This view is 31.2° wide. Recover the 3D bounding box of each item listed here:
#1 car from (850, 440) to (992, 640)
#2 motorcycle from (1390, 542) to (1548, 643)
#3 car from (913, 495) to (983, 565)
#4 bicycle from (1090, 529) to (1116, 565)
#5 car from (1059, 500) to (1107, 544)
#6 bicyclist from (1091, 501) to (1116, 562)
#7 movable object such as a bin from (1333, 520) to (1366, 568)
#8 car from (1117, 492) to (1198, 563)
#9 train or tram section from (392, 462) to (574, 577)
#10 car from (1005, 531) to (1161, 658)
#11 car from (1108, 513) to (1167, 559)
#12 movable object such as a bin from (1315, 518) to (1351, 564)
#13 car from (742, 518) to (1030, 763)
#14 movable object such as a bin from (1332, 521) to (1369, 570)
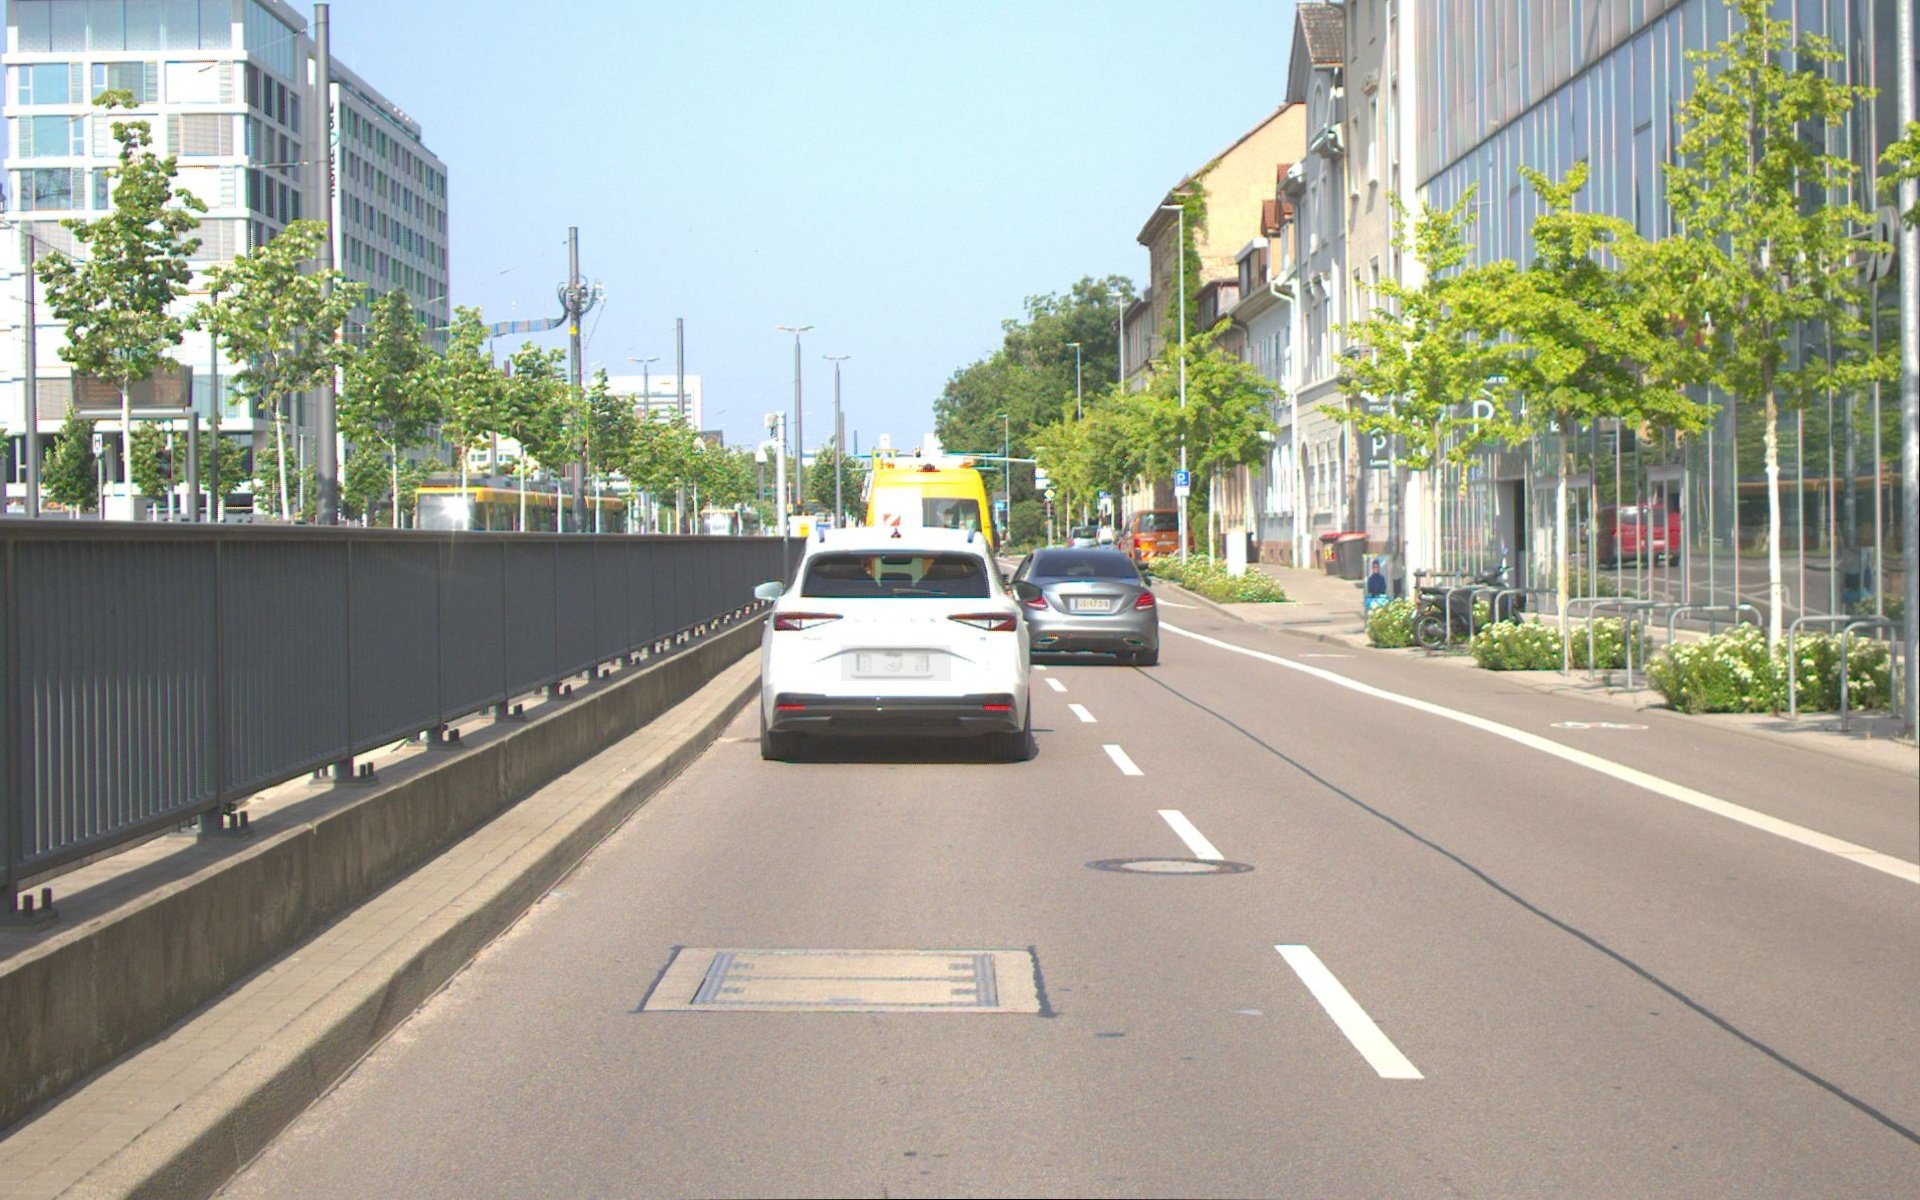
[{"bbox_3d":[-0.560,-0.988,52.217,2.020,2.786,5.402,0,3,0],"label":"car"},{"bbox_3d":[7.026,-0.118,47.470,1.968,1.345,0.868,-1,1,-11],"label":"motorcycle"},{"bbox_3d":[-0.371,-2.072,102.270,1.993,2.007,4.000,1,1,-1],"label":"car"},{"bbox_3d":[3.744,-1.391,90.113,0.655,0.935,1.517,0,2,2],"label":"bicycle"},{"bbox_3d":[5.186,-3.320,145.355,1.812,1.806,3.836,0,2,-1],"label":"car"},{"bbox_3d":[3.751,-1.802,90.100,0.639,1.571,0.771,0,1,2],"label":"bicyclist"},{"bbox_3d":[9.614,-1.390,84.849,0.704,1.148,0.671,0,3,-1],"label":"movable object such as a bin"},{"bbox_3d":[5.812,-2.164,101.819,2.063,2.006,4.589,-1,2,-1],"label":"car"},{"bbox_3d":[-16.399,-2.773,119.881,2.906,3.663,18.136,1,1,3],"label":"train or tram section"},{"bbox_3d":[1.473,-0.108,42.645,1.760,1.431,4.115,1,2,0],"label":"car"},{"bbox_3d":[5.943,-2.153,115.327,1.673,1.478,4.312,-2,1,-1],"label":"car"},{"bbox_3d":[9.484,-1.500,87.299,0.669,1.148,0.617,-3,5,-44],"label":"movable object such as a bin"},{"bbox_3d":[-0.484,0.216,24.416,1.870,1.569,4.000,0,2,0],"label":"car"},{"bbox_3d":[9.521,-1.341,83.879,0.781,1.168,0.808,0,3,-1],"label":"movable object such as a bin"}]
